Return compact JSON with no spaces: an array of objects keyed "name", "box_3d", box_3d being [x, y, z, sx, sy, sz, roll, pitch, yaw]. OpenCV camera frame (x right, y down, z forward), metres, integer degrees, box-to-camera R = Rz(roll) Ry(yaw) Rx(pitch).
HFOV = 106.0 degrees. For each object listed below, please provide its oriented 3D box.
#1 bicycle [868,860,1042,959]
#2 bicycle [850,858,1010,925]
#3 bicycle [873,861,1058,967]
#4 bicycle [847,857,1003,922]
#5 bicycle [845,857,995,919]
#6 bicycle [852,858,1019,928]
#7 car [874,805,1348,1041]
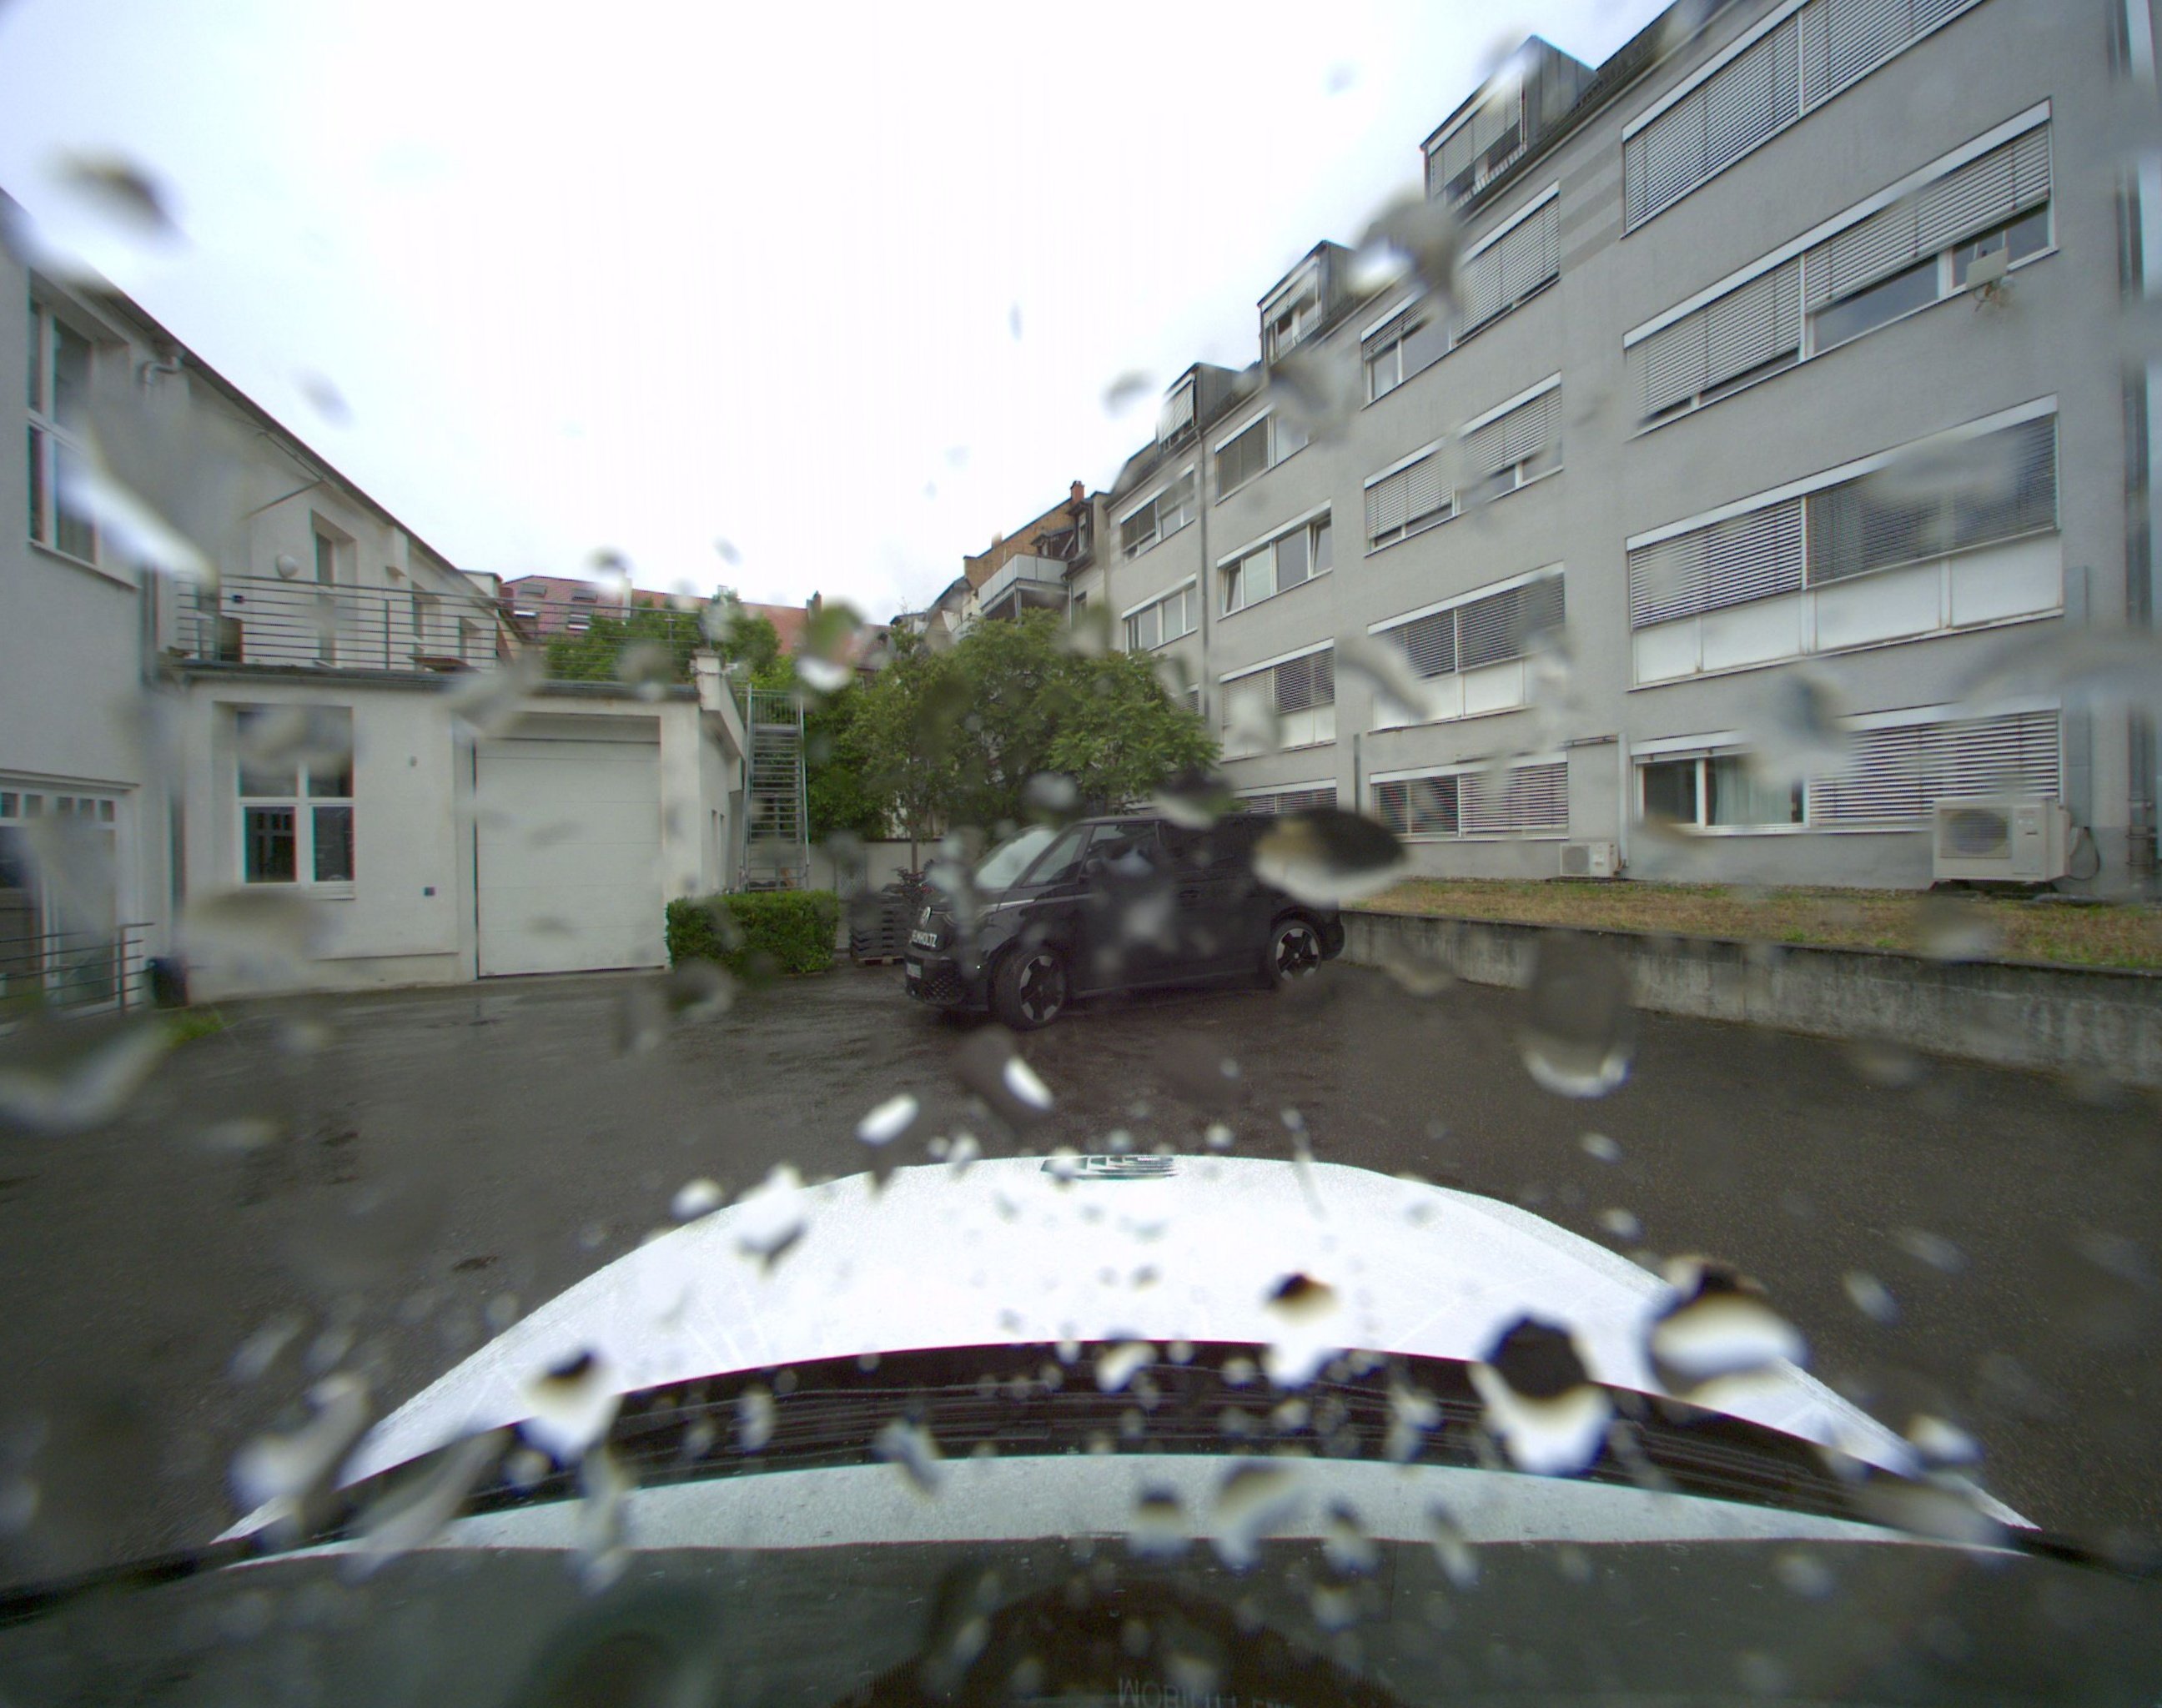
[{"name":"bicycle","box_3d":[-2.381,1.011,15.632,3.228,1.703,0.626,-2,-1,-24]},{"name":"bicycle","box_3d":[-3.128,0.748,17.048,3.228,1.242,0.626,-2,-1,-24]},{"name":"bicycle","box_3d":[-2.055,1.020,14.741,3.228,1.703,0.626,-2,-1,-24]},{"name":"bicycle","box_3d":[-3.353,0.741,17.677,3.228,1.242,0.626,-2,-1,-24]},{"name":"bicycle","box_3d":[-3.578,0.735,18.286,3.228,1.242,0.626,-2,-1,-24]},{"name":"bicycle","box_3d":[-2.901,0.755,16.390,3.228,1.242,0.626,-2,-1,-24]},{"name":"car","box_3d":[0.370,0.516,8.536,4.534,1.897,2.028,-2,0,-29]}]
